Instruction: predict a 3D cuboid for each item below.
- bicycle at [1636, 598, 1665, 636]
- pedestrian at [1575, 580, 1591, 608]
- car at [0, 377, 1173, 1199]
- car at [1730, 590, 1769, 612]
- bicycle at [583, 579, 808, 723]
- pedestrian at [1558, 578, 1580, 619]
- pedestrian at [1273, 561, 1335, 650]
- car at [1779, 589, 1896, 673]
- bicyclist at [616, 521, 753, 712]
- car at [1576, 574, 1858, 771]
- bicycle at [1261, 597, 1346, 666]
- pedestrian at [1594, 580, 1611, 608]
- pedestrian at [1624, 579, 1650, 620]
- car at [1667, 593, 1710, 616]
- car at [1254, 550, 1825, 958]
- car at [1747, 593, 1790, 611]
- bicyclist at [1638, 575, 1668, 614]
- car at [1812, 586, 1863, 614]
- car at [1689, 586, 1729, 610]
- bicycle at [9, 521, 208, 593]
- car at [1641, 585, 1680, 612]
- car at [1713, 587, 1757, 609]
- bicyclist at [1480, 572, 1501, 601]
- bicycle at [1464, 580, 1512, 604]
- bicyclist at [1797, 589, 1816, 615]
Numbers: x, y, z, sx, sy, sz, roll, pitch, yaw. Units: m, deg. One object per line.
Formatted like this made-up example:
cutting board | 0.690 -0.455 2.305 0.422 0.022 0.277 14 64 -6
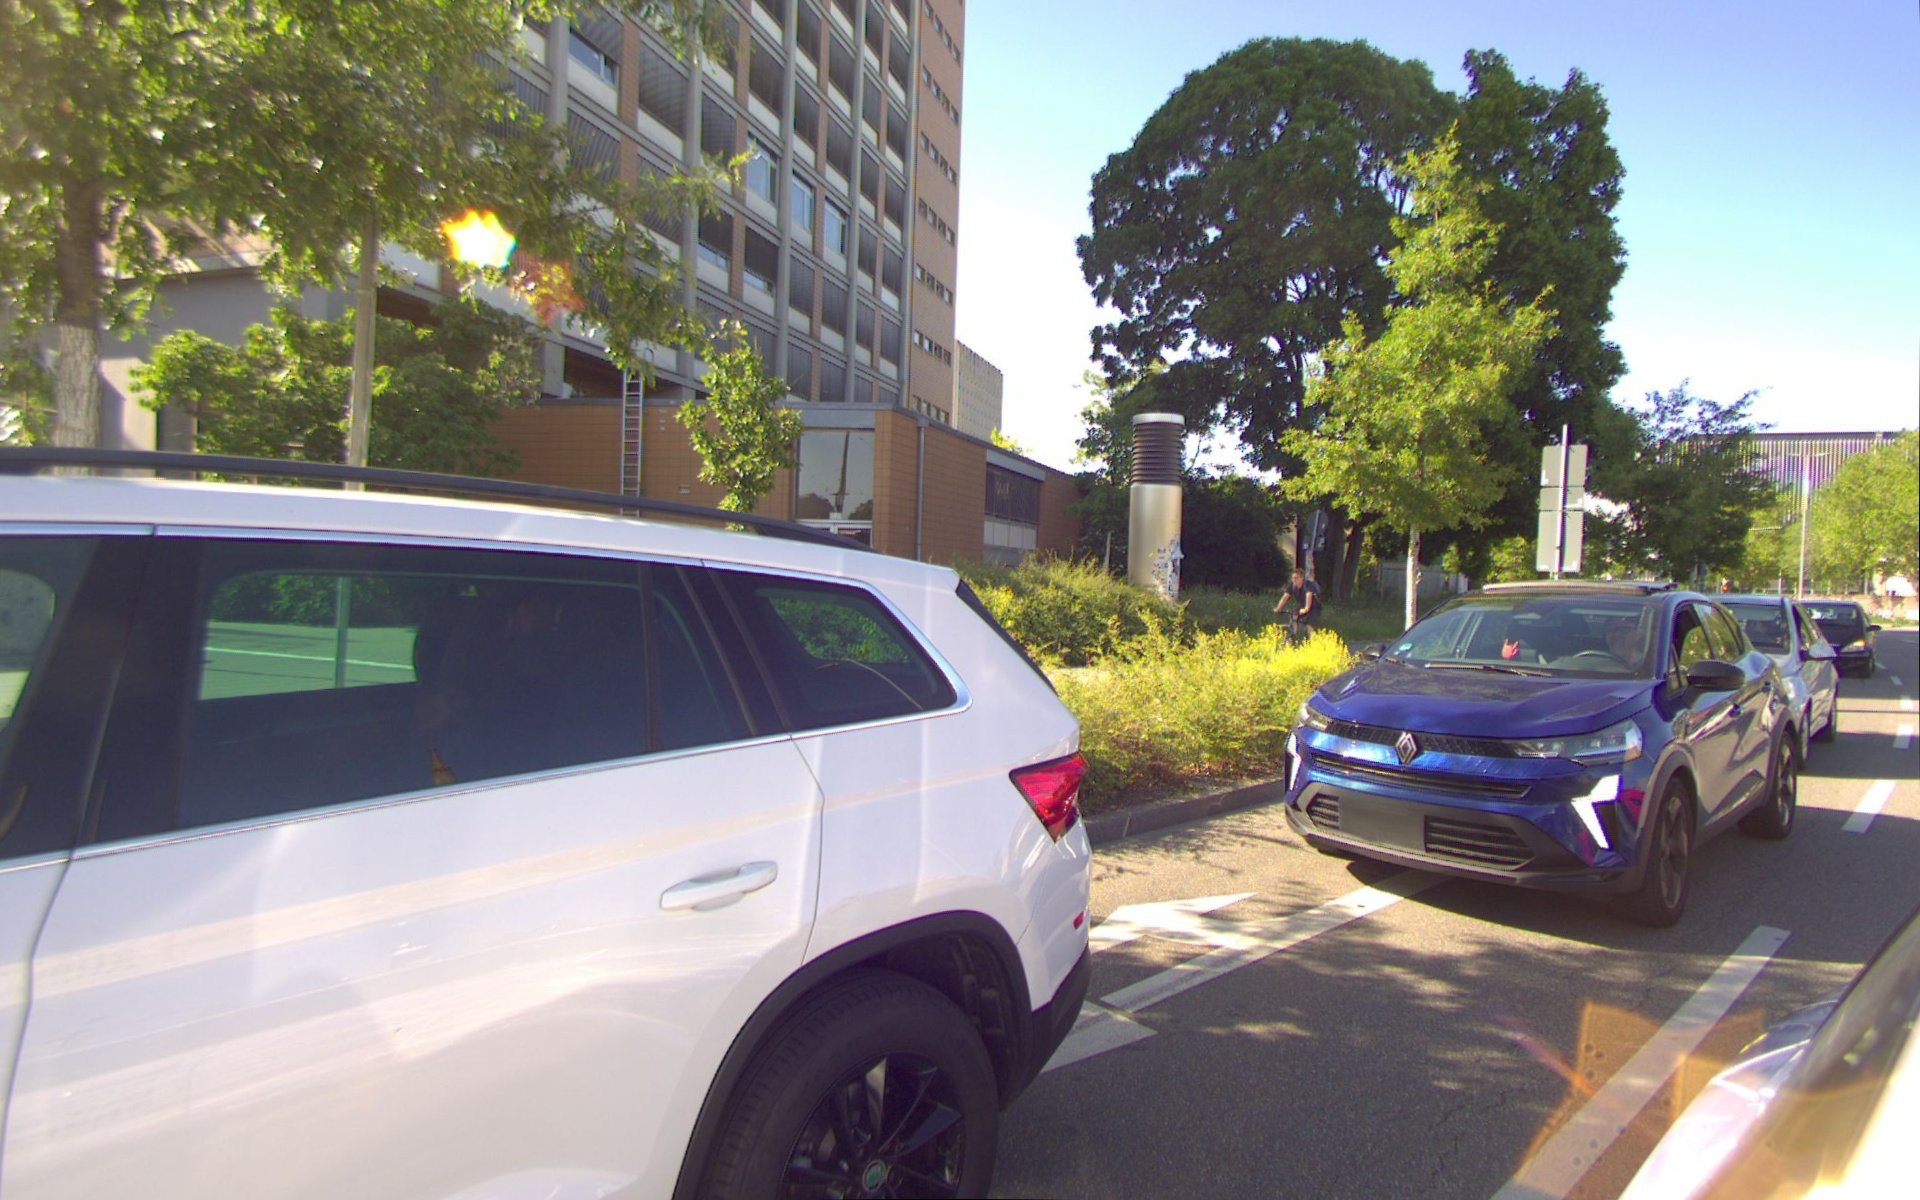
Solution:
bicycle | 24.377 0.585 35.755 0.687 1.232 1.814 4 3 31
pedestrian | 44.432 -0.431 72.195 0.811 1.941 0.767 0 0 20
car | -1.625 0.567 1.677 4.223 1.662 1.697 0 2 -42
car | 61.896 0.064 79.374 1.578 1.625 3.048 2 1 23
bicycle | -2.370 0.419 9.216 1.850 1.178 0.686 1 1 -41
pedestrian | 24.880 -0.070 41.370 0.686 1.624 0.655 2 1 27
pedestrian | 5.723 0.080 16.804 0.945 1.419 0.517 0 3 -43
car | 19.212 0.623 22.124 3.432 1.631 1.648 0 2 -45
bicyclist | -2.477 0.129 9.110 0.960 1.618 0.686 1 1 -41
car | 8.053 0.602 10.624 3.977 1.645 1.782 0 2 -45
bicycle | 5.711 0.503 16.792 1.738 1.057 0.517 0 4 -43
pedestrian | 45.466 -0.425 71.612 0.811 1.941 0.767 0 0 20
pedestrian | 27.474 -0.018 41.081 0.685 1.624 0.656 2 1 23
car | 48.572 0.268 67.542 1.735 1.494 3.542 0 1 26
car | 3.624 0.601 5.999 4.012 1.626 1.704 0 1 -41
car | 58.951 0.177 73.841 1.569 1.220 3.965 1 -1 25
bicyclist | 24.293 -0.196 35.490 0.717 1.294 0.897 4 3 32
car | 55.933 -0.024 64.577 1.509 1.700 3.353 1 0 24
car | 65.871 -0.226 89.037 1.767 2.039 4.201 1 1 22
bicycle | -17.553 -0.856 20.999 0.790 1.394 3.111 2 1 26
car | 51.098 -0.108 73.883 1.811 1.876 3.717 2 1 27
car | 52.343 -0.137 68.375 1.736 1.396 3.540 1 1 27
bicyclist | 27.812 -0.689 53.028 0.837 1.492 0.760 2 1 20
bicycle | 27.690 -0.433 53.080 2.099 1.189 0.760 2 1 21
bicyclist | 52.212 0.126 62.425 0.688 1.578 0.809 0 0 25
